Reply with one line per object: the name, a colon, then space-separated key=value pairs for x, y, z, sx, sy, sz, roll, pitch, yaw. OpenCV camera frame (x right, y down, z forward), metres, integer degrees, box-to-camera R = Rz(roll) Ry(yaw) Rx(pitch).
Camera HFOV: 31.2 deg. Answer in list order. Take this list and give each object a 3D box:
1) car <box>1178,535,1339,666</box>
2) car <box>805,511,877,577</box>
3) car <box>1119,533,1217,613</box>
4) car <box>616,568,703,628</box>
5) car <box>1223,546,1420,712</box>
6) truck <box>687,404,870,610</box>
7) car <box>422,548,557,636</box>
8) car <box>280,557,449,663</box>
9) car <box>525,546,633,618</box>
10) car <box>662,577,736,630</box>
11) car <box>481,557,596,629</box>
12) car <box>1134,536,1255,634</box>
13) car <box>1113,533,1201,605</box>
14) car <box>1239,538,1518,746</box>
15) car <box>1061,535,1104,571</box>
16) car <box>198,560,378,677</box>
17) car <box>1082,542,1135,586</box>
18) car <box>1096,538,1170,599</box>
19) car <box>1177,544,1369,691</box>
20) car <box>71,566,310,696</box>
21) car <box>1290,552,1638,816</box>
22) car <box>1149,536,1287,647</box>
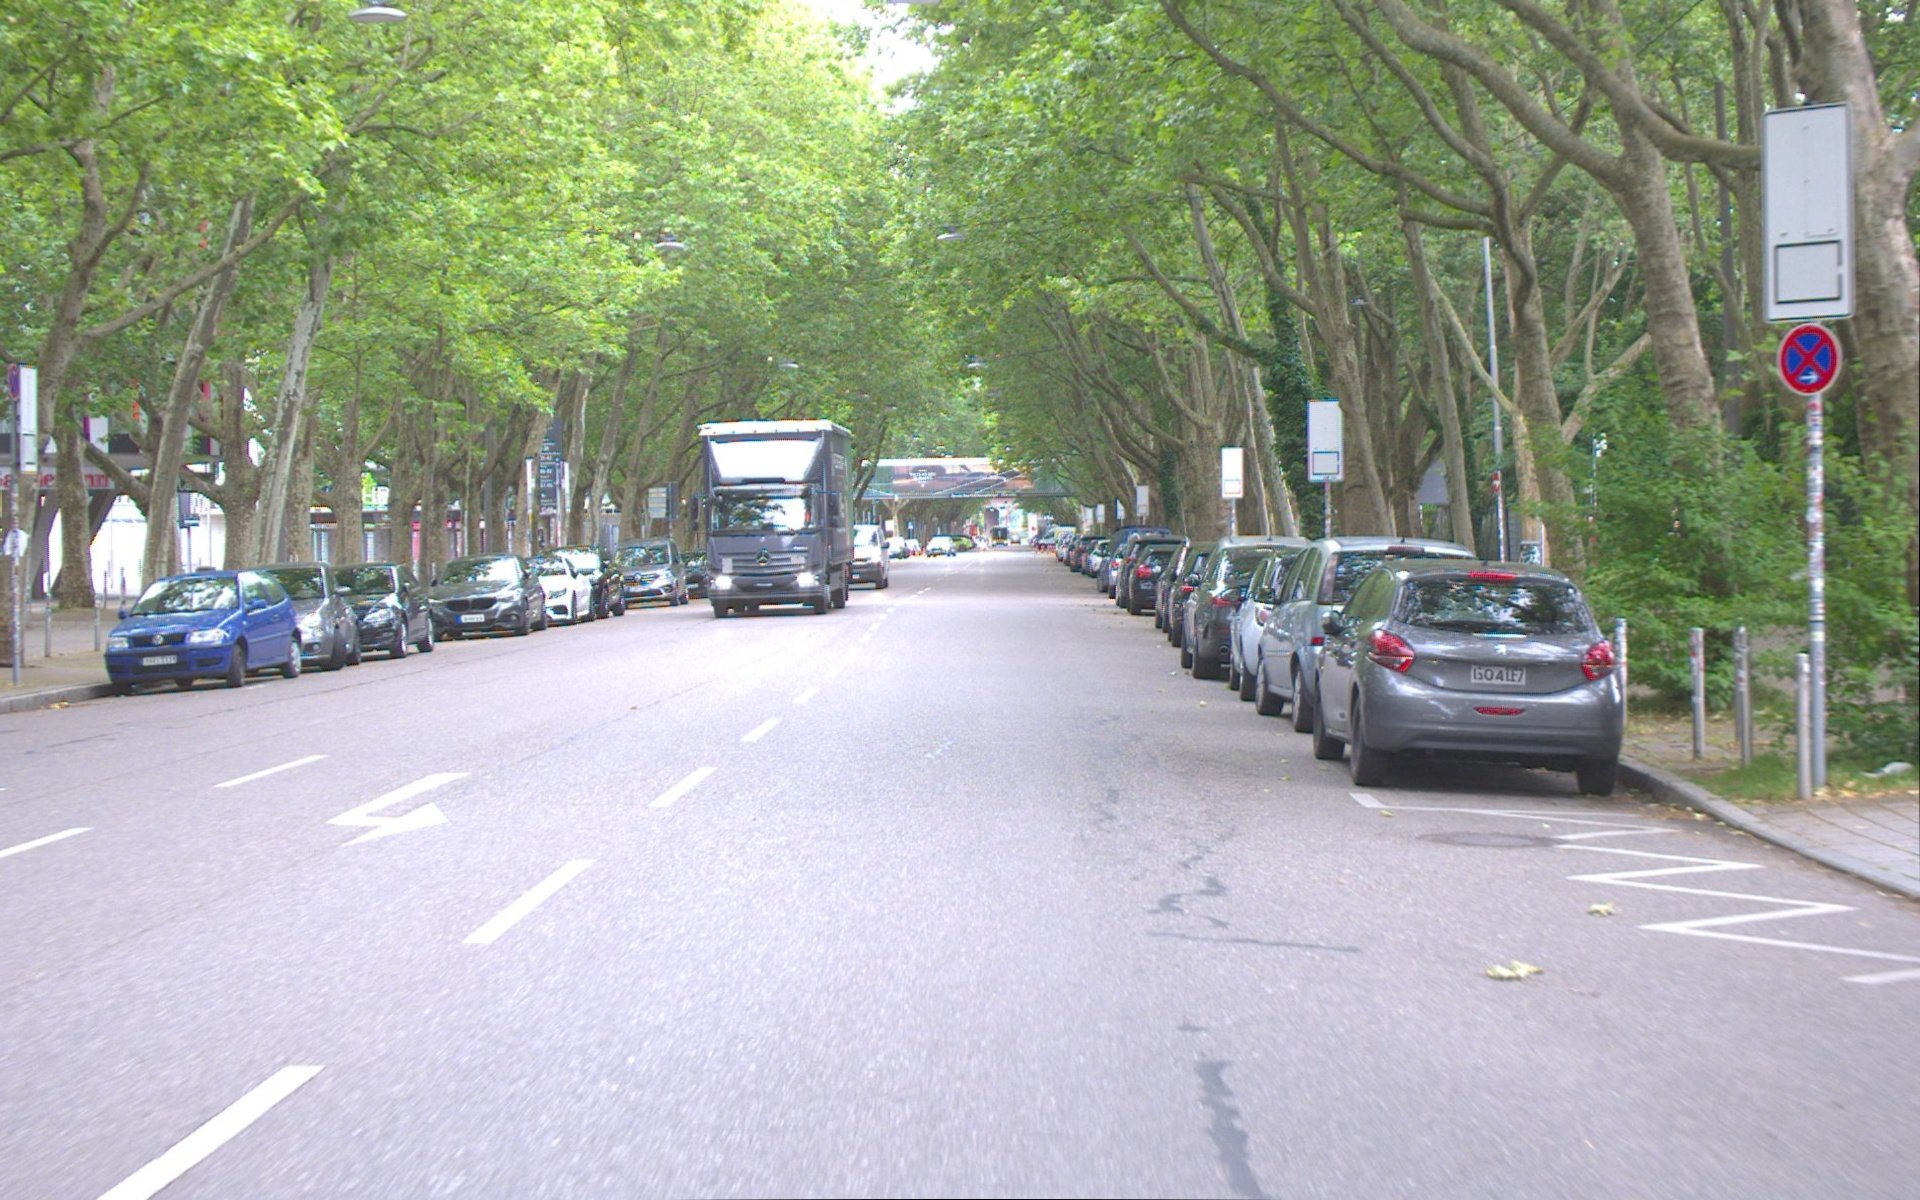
car: x=3.837 y=-0.021 z=44.682 sx=1.756 sy=1.591 sz=3.929 roll=2 pitch=1 yaw=1
car: x=-3.572 y=-1.700 z=103.960 sx=1.980 sy=1.927 sz=4.113 roll=0 pitch=1 yaw=1
car: x=4.178 y=-0.557 z=69.512 sx=1.756 sy=1.529 sz=3.929 roll=2 pitch=1 yaw=1
car: x=-7.719 y=-0.033 z=88.627 sx=1.895 sy=1.433 sz=4.000 roll=-2 pitch=-1 yaw=-1
car: x=3.555 y=0.250 z=34.323 sx=1.675 sy=1.485 sz=3.686 roll=3 pitch=1 yaw=3
truck: x=-3.642 y=-1.868 z=71.398 sx=2.641 sy=3.888 sz=9.539 roll=-2 pitch=1 yaw=3
car: x=-8.356 y=-0.129 z=61.323 sx=1.765 sy=1.414 sz=3.761 roll=-4 pitch=0 yaw=1
car: x=-8.856 y=0.148 z=51.410 sx=1.765 sy=1.414 sz=3.761 roll=-4 pitch=0 yaw=1
car: x=-8.196 y=-0.365 z=74.278 sx=1.895 sy=1.433 sz=4.000 roll=-2 pitch=-1 yaw=-1
car: x=-7.667 y=0.114 z=101.281 sx=1.895 sy=1.433 sz=4.000 roll=-2 pitch=-1 yaw=-1
car: x=-8.368 y=-0.119 z=68.568 sx=1.732 sy=1.327 sz=4.000 roll=-2 pitch=-1 yaw=0
car: x=3.891 y=-0.268 z=57.533 sx=1.756 sy=1.529 sz=3.929 roll=2 pitch=1 yaw=1
car: x=4.309 y=-0.686 z=75.605 sx=1.756 sy=1.529 sz=3.929 roll=0 pitch=1 yaw=1
car: x=3.482 y=0.303 z=29.259 sx=1.719 sy=1.562 sz=4.094 roll=3 pitch=1 yaw=-1
car: x=5.434 y=-2.102 z=152.970 sx=1.756 sy=1.529 sz=3.929 roll=2 pitch=1 yaw=1
car: x=-9.071 y=0.245 z=46.666 sx=1.765 sy=1.414 sz=3.762 roll=-4 pitch=0 yaw=-2
car: x=5.400 y=-1.307 z=125.495 sx=1.756 sy=1.529 sz=3.929 roll=-2 pitch=1 yaw=1
car: x=4.456 y=-0.828 z=89.174 sx=1.756 sy=1.529 sz=3.929 roll=-1 pitch=1 yaw=1
car: x=3.493 y=0.161 z=39.023 sx=1.756 sy=1.485 sz=4.417 roll=3 pitch=1 yaw=1
car: x=-9.292 y=0.353 z=41.781 sx=1.695 sy=1.414 sz=3.761 roll=-4 pitch=0 yaw=5
car: x=3.330 y=0.488 z=23.506 sx=1.699 sy=1.514 sz=4.454 roll=3 pitch=1 yaw=1
car: x=3.772 y=-0.146 z=50.798 sx=1.756 sy=1.529 sz=3.929 roll=2 pitch=1 yaw=1
